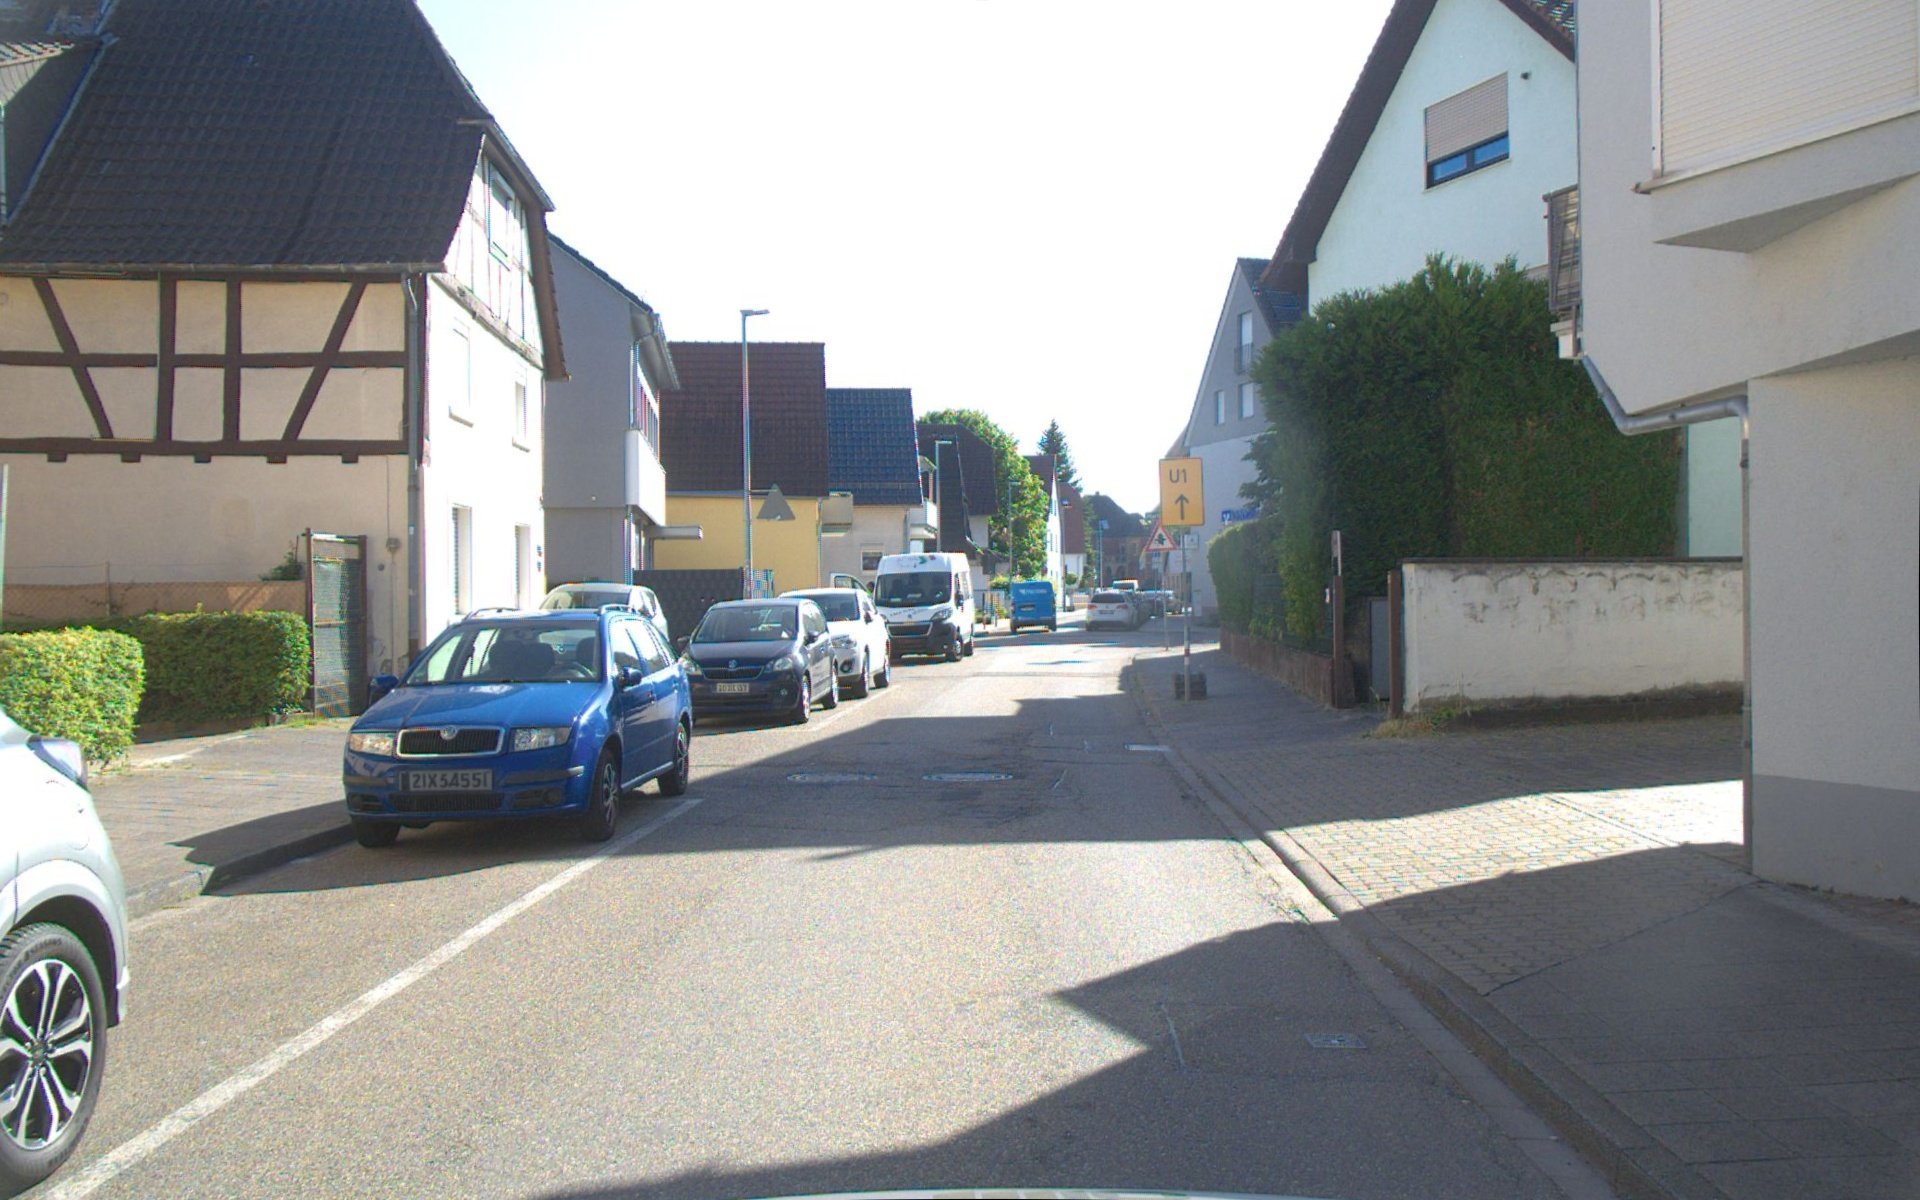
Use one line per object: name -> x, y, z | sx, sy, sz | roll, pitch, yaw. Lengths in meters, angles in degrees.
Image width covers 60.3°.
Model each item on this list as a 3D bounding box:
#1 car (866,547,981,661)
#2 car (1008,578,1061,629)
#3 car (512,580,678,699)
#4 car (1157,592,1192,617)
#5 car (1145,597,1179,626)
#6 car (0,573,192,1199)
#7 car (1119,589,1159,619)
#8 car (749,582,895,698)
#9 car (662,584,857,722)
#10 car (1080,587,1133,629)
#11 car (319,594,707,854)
car -> -0.772, 0.089, 38.701 | 2.033, 2.436, 5.212 | -2, 0, 5
car -> 2.862, 0.103, 64.200 | 1.881, 1.833, 4.781 | -2, 1, 1
car -> -5.487, 0.534, 25.324 | 1.687, 1.624, 4.016 | 2, 1, -1
car -> 14.279, 0.306, 109.941 | 1.805, 1.437, 4.002 | 1, -2, 14
car -> 12.314, 0.700, 100.700 | 1.889, 1.598, 4.003 | 2, -2, 10
car -> -3.071, 0.725, 2.805 | 1.639, 1.532, 4.094 | -1, 0, -1
car -> 9.805, 0.229, 90.264 | 1.805, 1.437, 4.003 | 2, -2, 11
car -> -2.051, 0.560, 25.579 | 1.638, 1.599, 3.967 | -2, 0, 4
car -> -2.459, 0.618, 21.214 | 1.668, 1.545, 4.124 | -2, 0, 4
car -> 5.587, 0.340, 63.424 | 1.806, 1.437, 4.001 | 2, -2, 3
car -> -2.898, 0.725, 11.606 | 1.605, 1.466, 4.074 | -1, 0, 0
